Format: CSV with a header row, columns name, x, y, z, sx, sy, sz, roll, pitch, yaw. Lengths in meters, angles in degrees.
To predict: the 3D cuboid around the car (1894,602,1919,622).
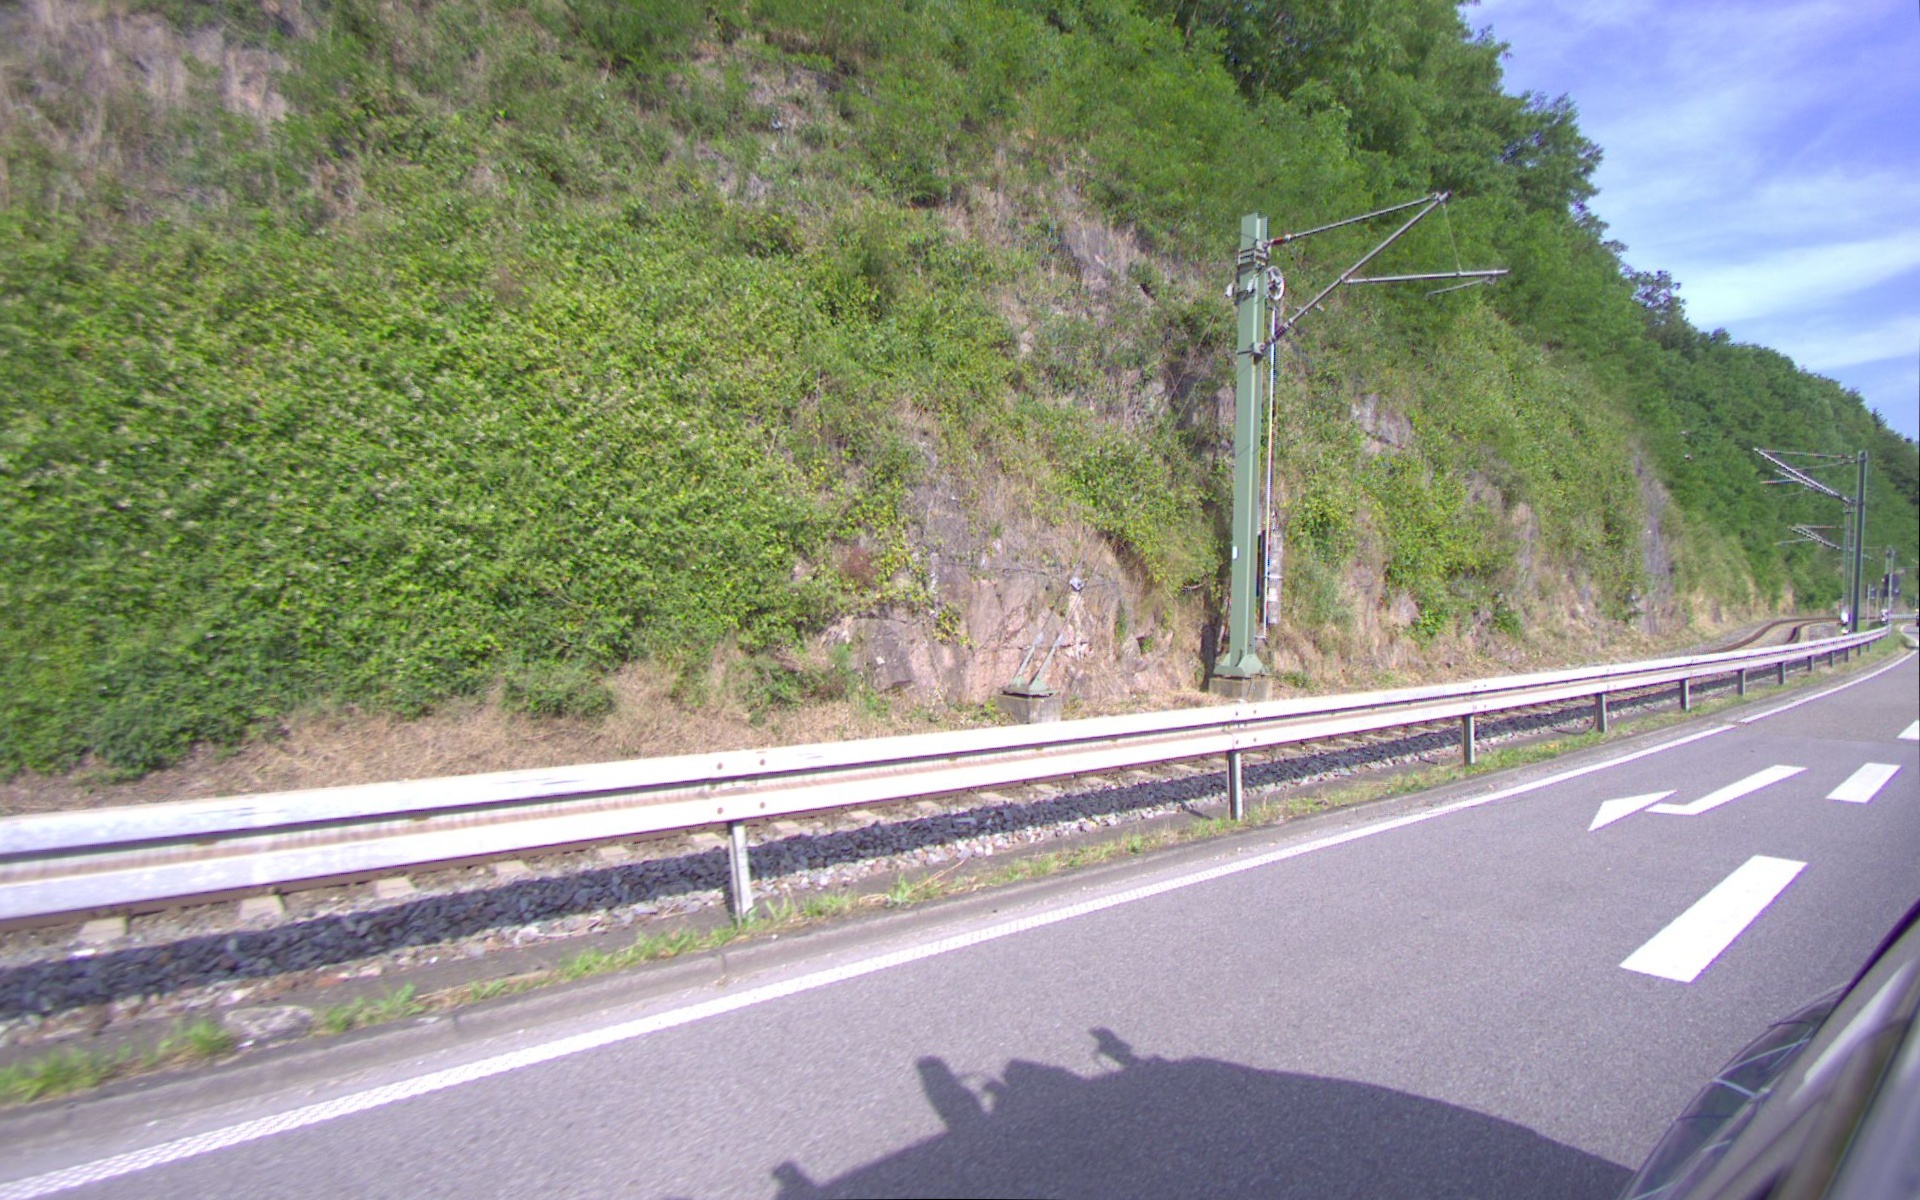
name,x,y,z,sx,sy,sz,roll,pitch,yaw
car,78.773,0.969,84.071,1.649,1.449,3.279,7,5,43
